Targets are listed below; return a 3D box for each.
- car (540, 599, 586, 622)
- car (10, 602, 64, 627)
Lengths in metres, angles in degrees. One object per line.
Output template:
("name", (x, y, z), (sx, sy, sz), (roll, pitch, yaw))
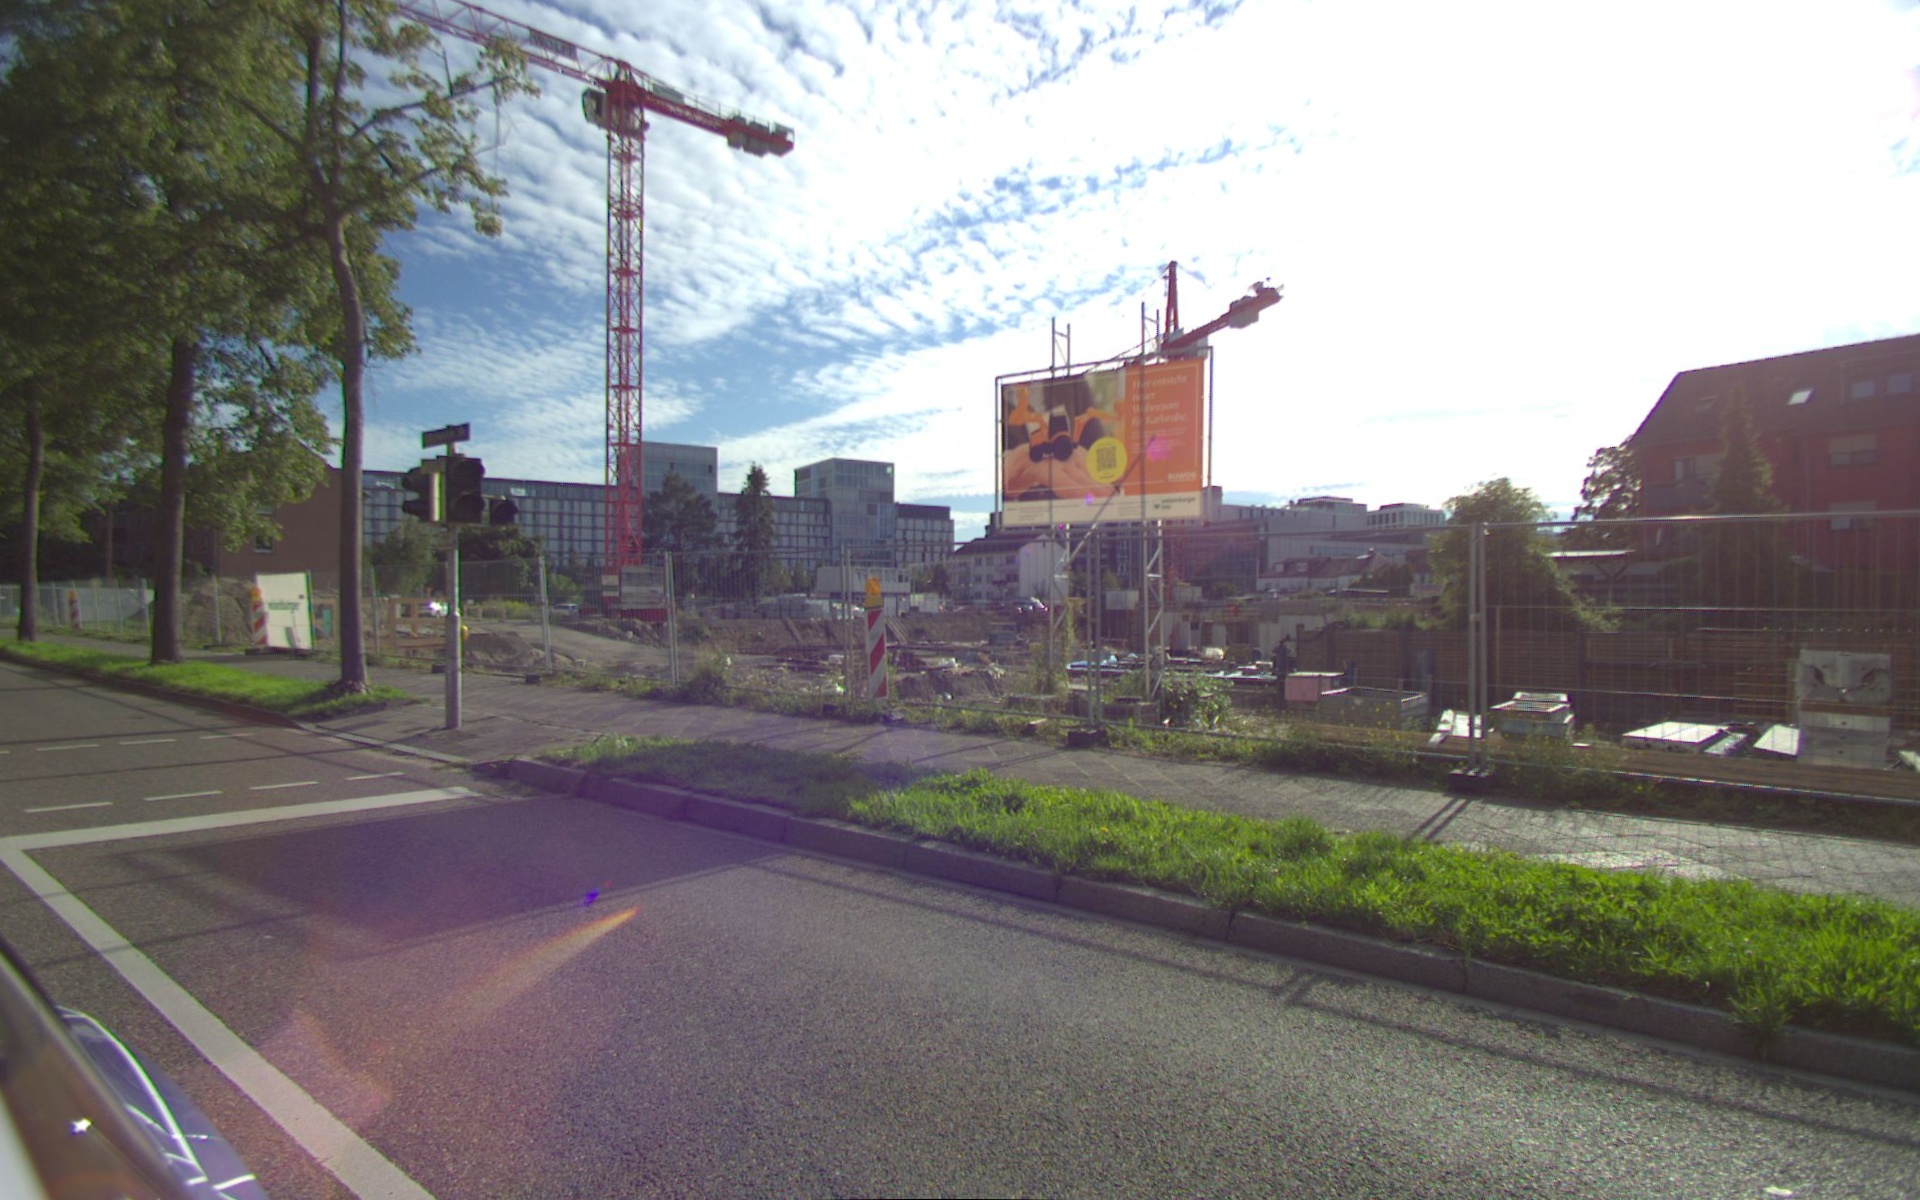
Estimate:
("car", (-34.827, 0.914, 88.729), (3.974, 1.821, 1.797), (2, 2, 34))
("car", (-57.802, 0.914, 63.338), (4.505, 1.439, 1.973), (1, 0, 41))
